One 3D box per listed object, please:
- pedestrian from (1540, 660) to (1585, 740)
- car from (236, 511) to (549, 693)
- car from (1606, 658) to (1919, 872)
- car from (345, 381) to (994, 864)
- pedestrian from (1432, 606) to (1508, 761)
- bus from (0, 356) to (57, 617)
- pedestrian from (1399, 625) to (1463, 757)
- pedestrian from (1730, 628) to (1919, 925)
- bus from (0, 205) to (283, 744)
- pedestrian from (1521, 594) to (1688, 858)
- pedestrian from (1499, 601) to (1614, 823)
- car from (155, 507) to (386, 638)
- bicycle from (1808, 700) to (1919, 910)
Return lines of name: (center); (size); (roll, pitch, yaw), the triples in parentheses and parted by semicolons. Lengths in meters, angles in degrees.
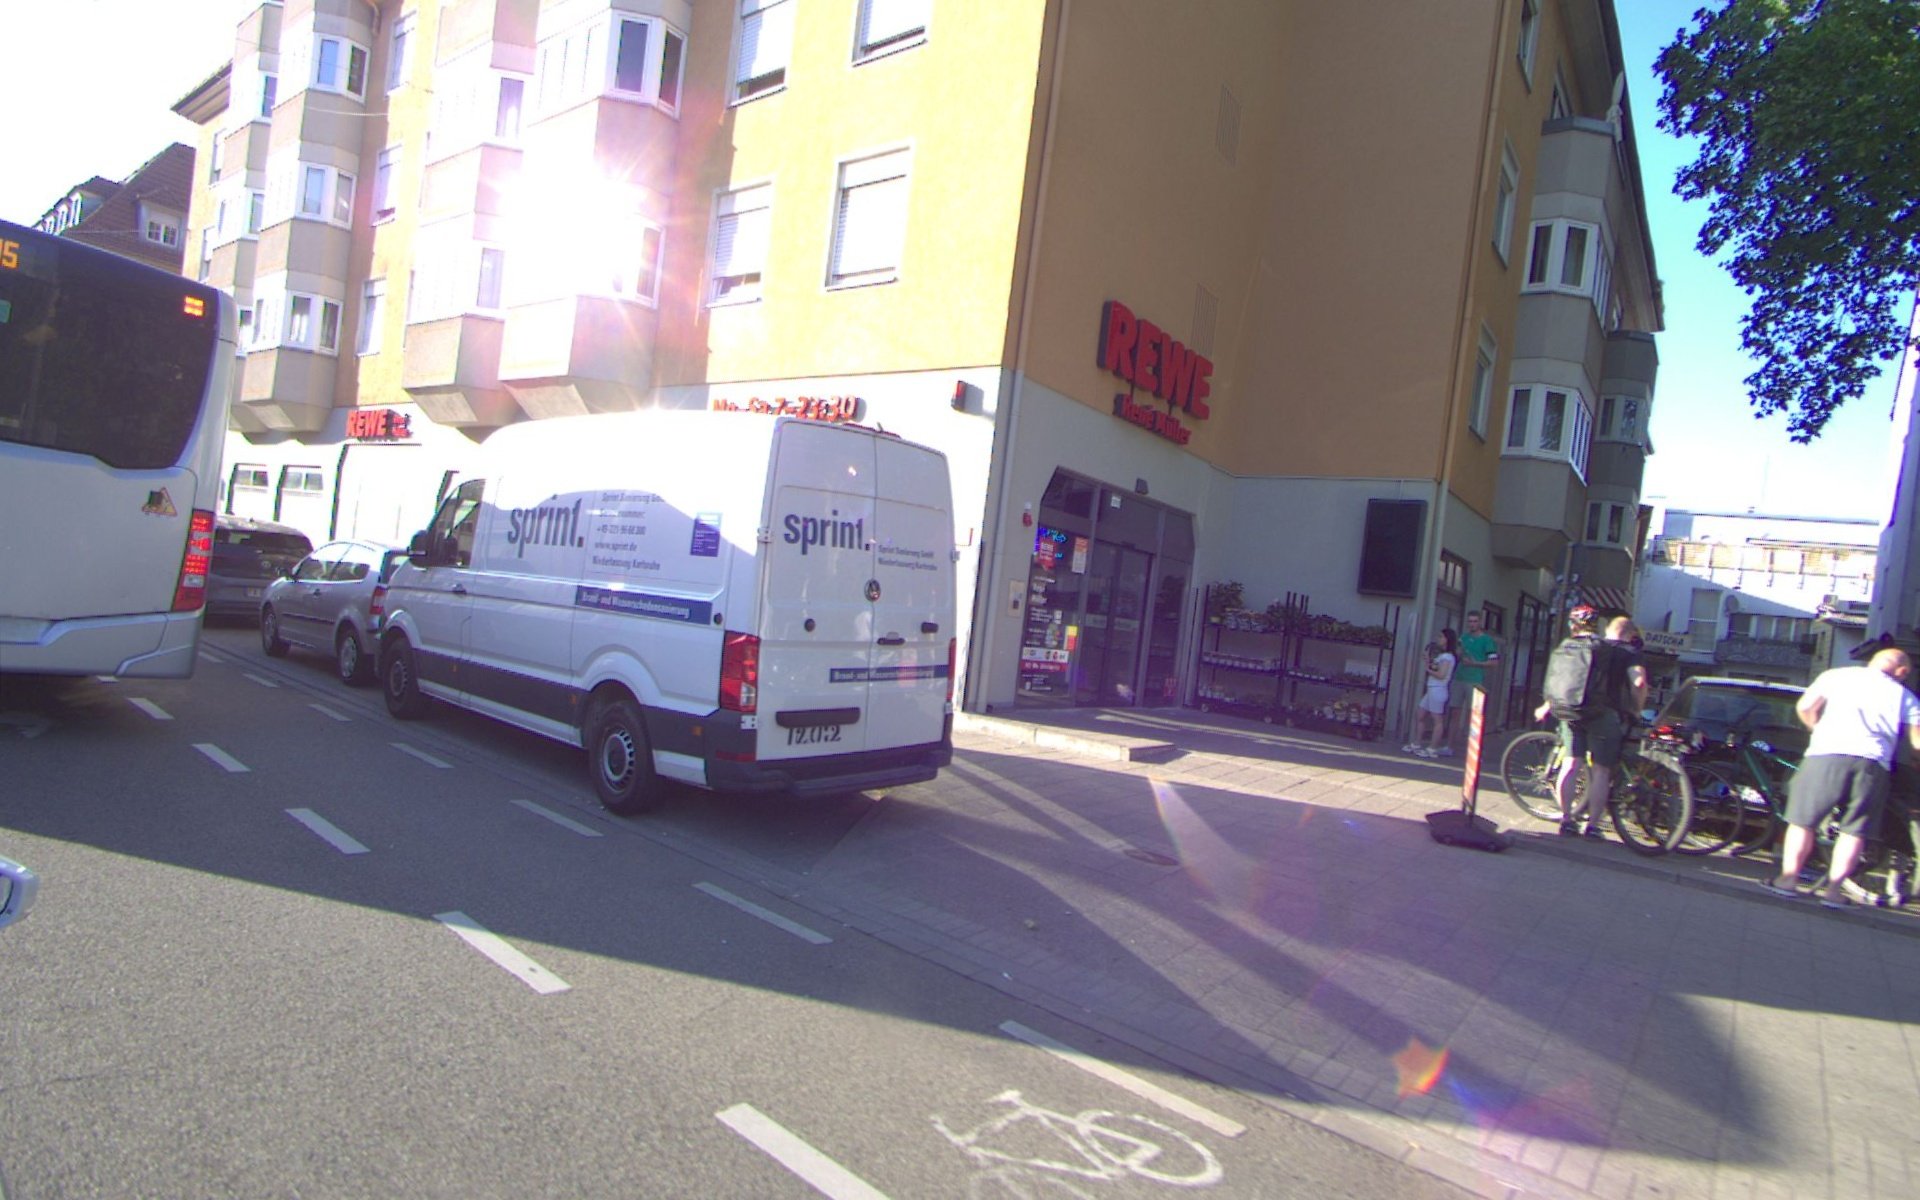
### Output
pedestrian: (12.572, 2.081, 20.982); (0.588, 1.561, 0.742); (7, 1, 37)
car: (-6.547, -0.023, 11.461); (3.731, 1.608, 1.836); (7, 0, 40)
car: (7.674, 1.426, 9.718); (1.972, 1.449, 4.011); (3, -2, 38)
car: (-2.670, -0.085, 7.973); (5.701, 2.586, 2.012); (7, 4, 40)
pedestrian: (6.556, 1.055, 12.954); (0.465, 1.905, 0.575); (6, 1, -1)
bus: (-15.619, -1.869, 14.269); (9.000, 3.092, 2.737); (7, -1, 40)
pedestrian: (5.939, 1.123, 12.712); (0.413, 1.587, 0.639); (7, 1, 10)
pedestrian: (5.641, 1.063, 6.363); (0.974, 1.659, 0.658); (8, 5, 32)
bus: (-8.946, -1.096, 8.575); (8.726, 3.092, 2.737); (7, -1, 40)
pedestrian: (4.812, 0.891, 7.510); (0.757, 1.776, 0.804); (9, 5, 40)
pedestrian: (5.189, 0.942, 8.765); (0.640, 1.807, 0.527); (8, 5, 32)
car: (-10.758, -0.471, 15.590); (4.169, 1.556, 1.836); (7, 0, 40)
bicycle: (6.254, 1.342, 6.329); (0.396, 1.242, 1.520); (6, 0, 0)
